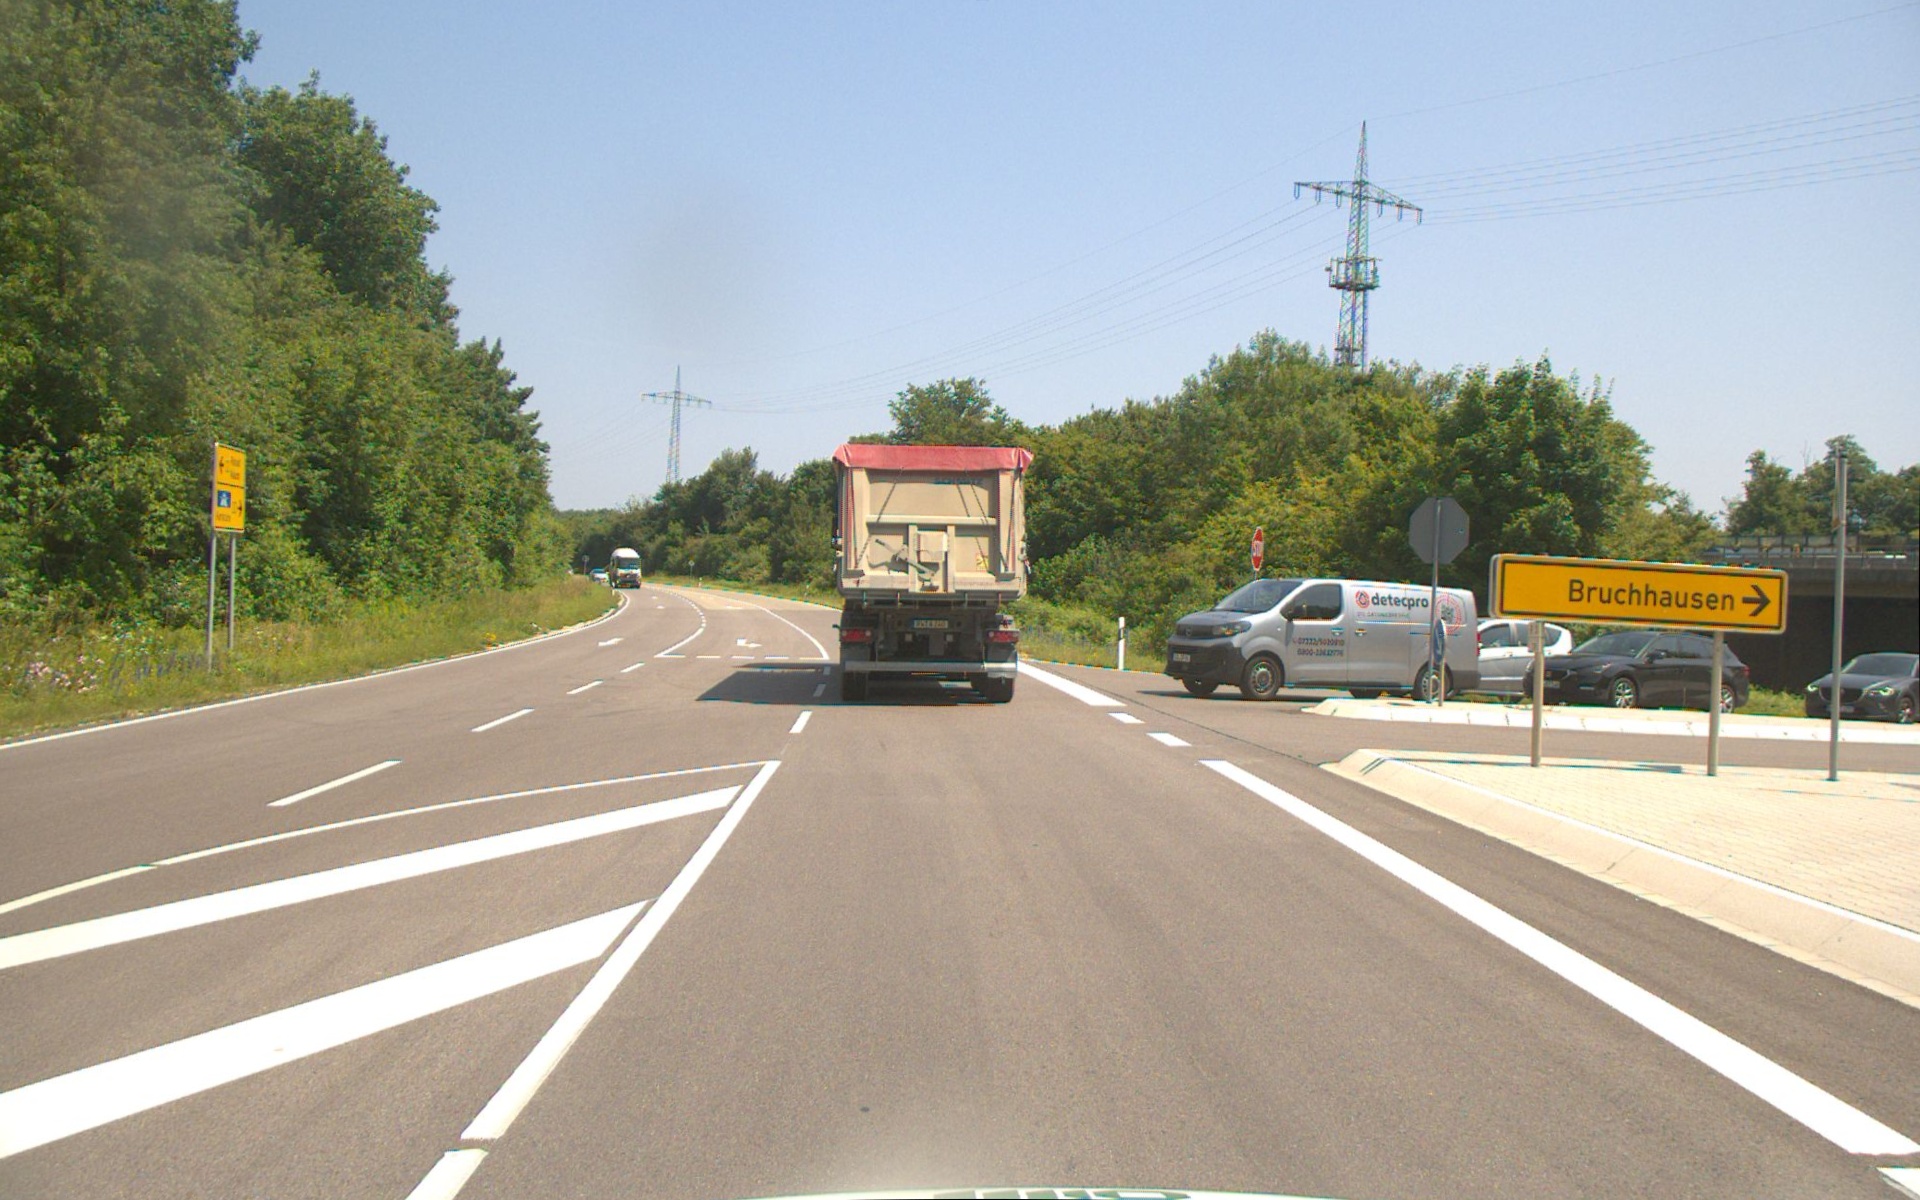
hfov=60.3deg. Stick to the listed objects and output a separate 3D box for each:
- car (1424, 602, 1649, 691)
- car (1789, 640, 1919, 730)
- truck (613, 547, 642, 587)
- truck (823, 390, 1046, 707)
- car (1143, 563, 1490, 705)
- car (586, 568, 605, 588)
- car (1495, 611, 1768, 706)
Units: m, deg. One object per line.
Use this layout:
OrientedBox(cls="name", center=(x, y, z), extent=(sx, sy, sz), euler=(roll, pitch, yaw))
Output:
OrientedBox(cls="car", center=(11.007, 0.857, 31.577), extent=(3.929, 1.607, 1.831), euler=(0, 0, -25))
OrientedBox(cls="car", center=(18.254, 1.692, 32.729), extent=(4.055, 1.626, 1.786), euler=(3, -2, -39))
OrientedBox(cls="truck", center=(-31.544, -3.084, 157.109), extent=(2.580, 3.735, 8.774), euler=(0, 1, -11))
OrientedBox(cls="truck", center=(-0.780, -0.725, 27.162), extent=(2.836, 4.031, 11.922), euler=(1, 1, -4))
OrientedBox(cls="car", center=(5.618, 0.564, 25.996), extent=(5.146, 1.940, 1.998), euler=(3, -1, -25))
OrientedBox(cls="car", center=(-35.236, -2.134, 159.961), extent=(1.810, 1.810, 4.878), euler=(0, 0, -12))
OrientedBox(cls="car", center=(11.589, 1.006, 28.518), extent=(4.492, 1.500, 1.853), euler=(2, 0, -26))
